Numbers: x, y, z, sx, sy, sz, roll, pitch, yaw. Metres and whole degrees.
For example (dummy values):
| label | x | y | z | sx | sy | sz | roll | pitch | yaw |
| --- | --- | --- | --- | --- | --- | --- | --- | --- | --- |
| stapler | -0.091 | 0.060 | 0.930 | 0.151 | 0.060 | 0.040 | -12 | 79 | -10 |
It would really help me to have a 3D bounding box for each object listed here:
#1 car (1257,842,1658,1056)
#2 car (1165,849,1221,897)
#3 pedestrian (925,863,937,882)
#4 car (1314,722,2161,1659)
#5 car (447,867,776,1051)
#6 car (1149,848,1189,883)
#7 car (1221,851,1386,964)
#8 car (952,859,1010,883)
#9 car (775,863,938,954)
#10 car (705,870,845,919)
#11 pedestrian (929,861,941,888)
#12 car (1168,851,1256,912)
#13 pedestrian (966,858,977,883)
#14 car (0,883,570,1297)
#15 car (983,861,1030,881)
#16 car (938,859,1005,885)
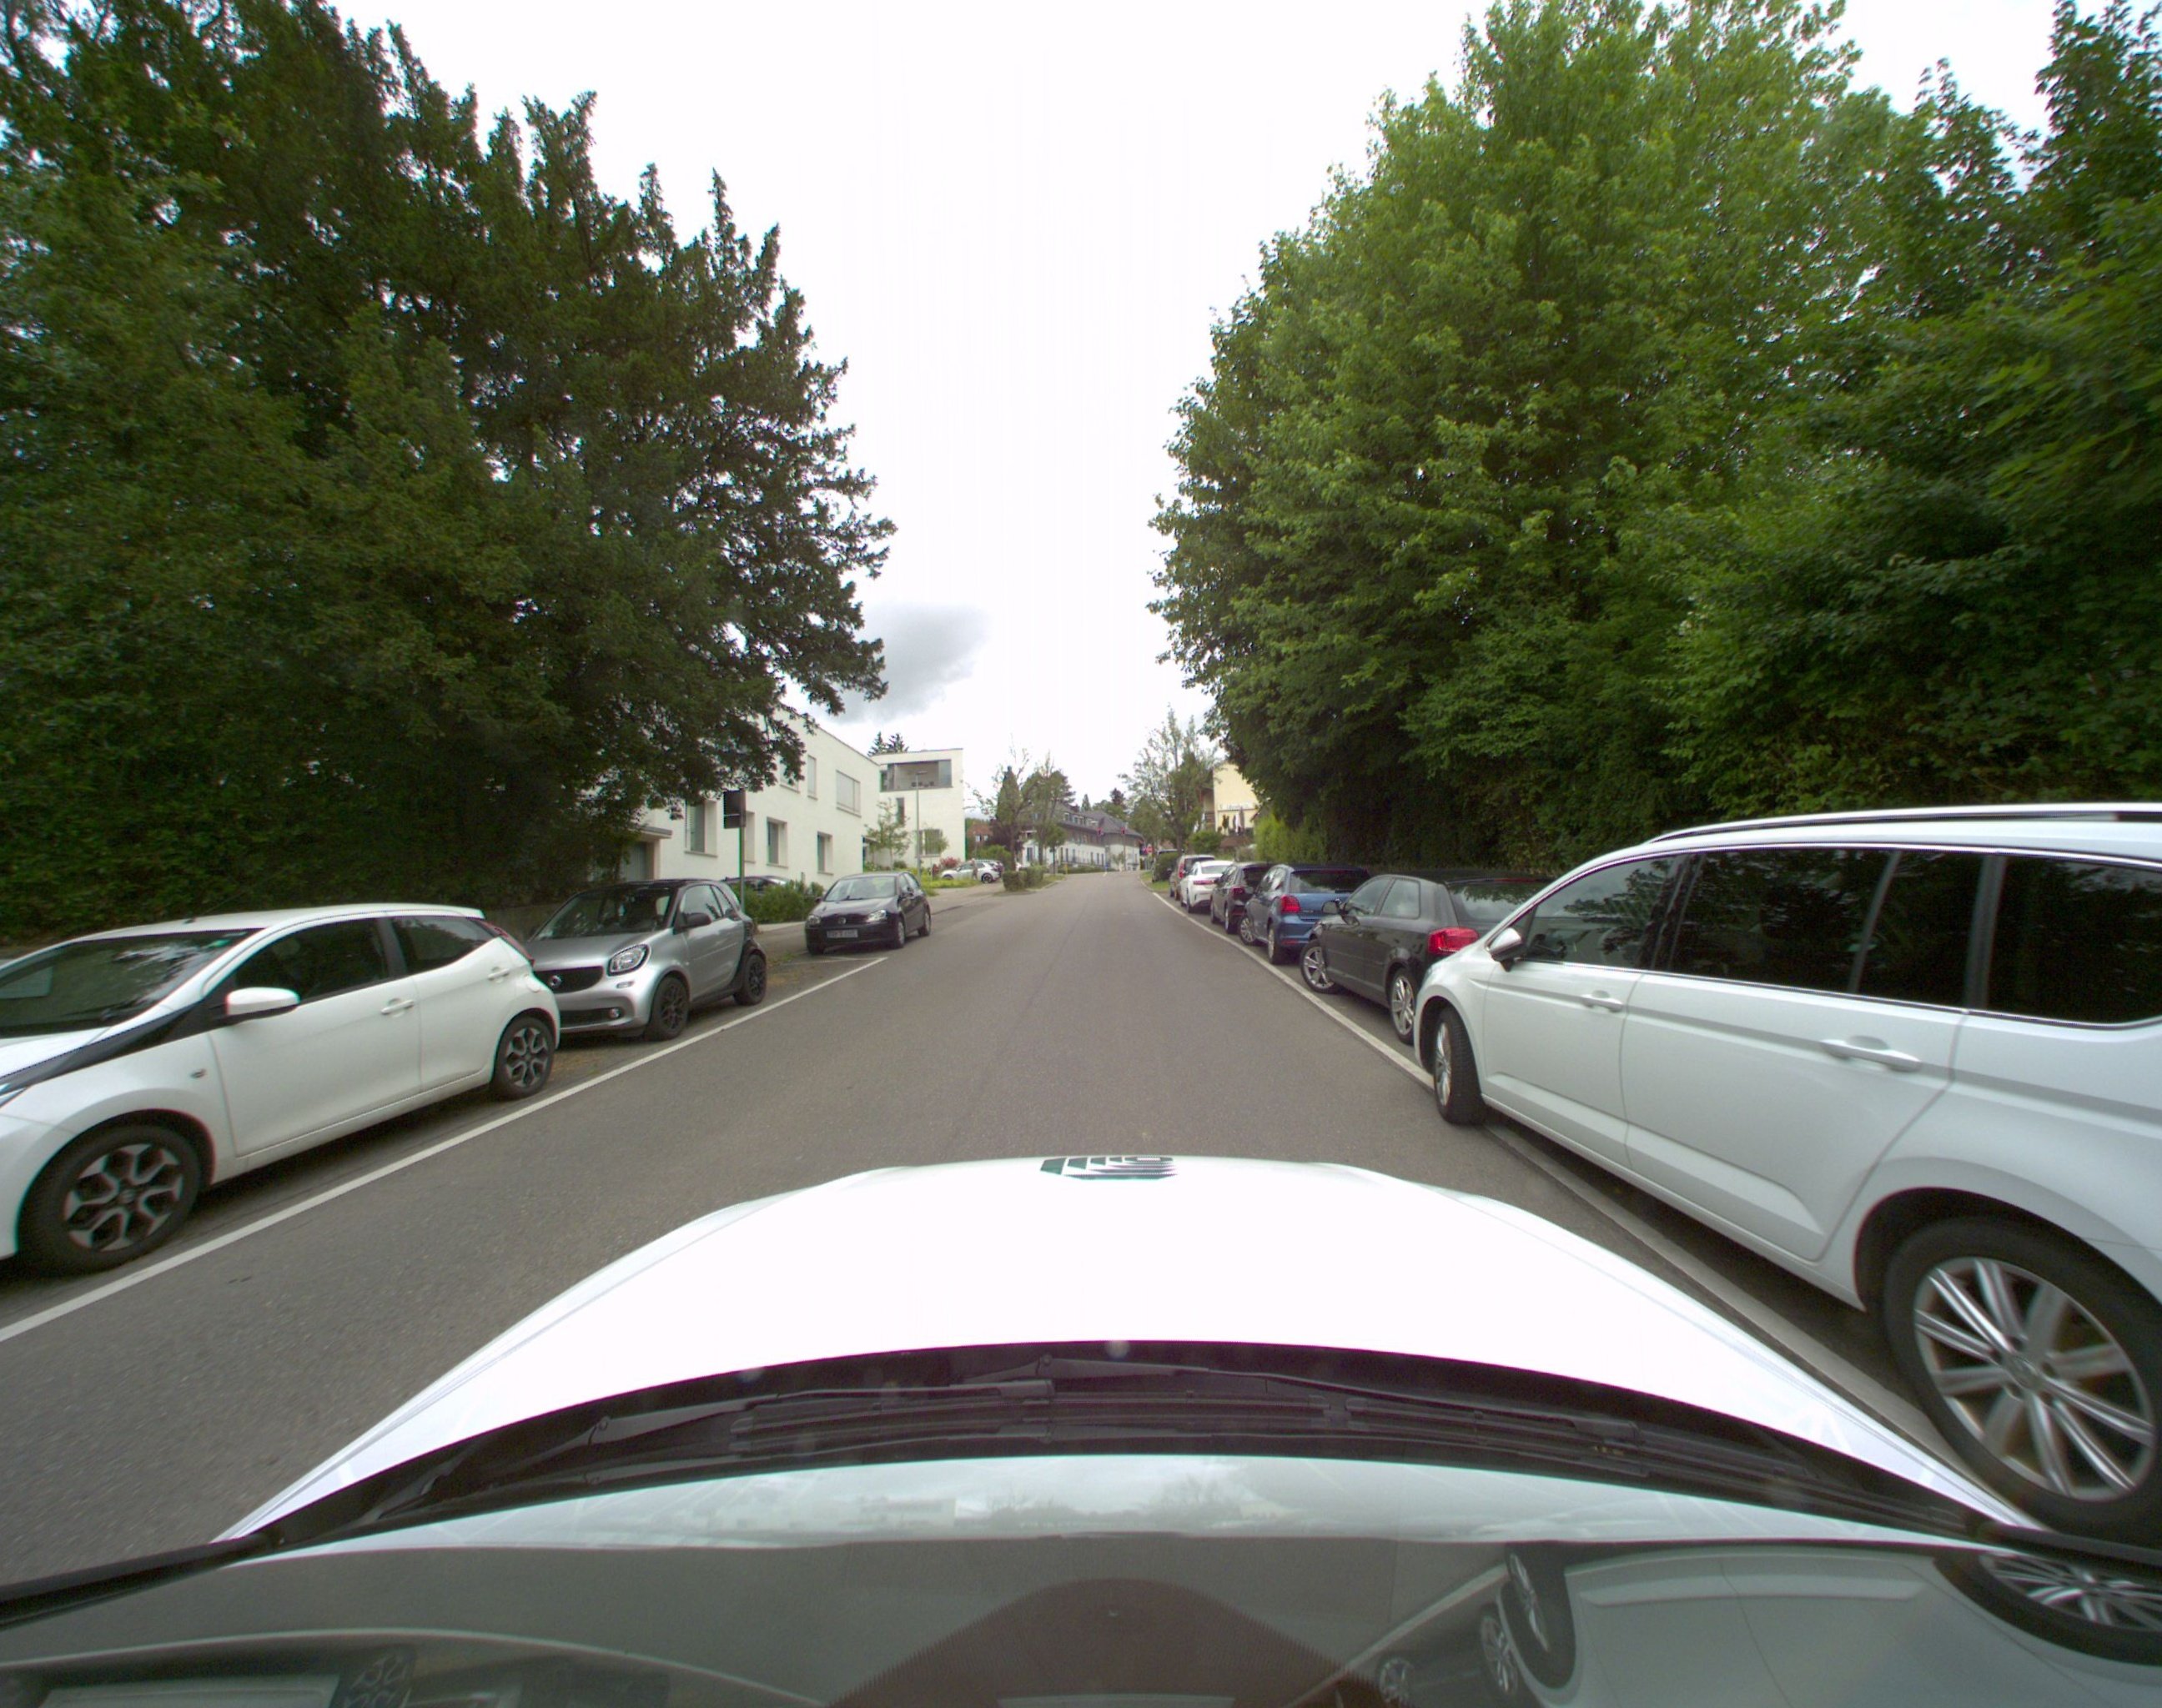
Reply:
| label | x | y | z | sx | sy | sz | roll | pitch | yaw |
| --- | --- | --- | --- | --- | --- | --- | --- | --- | --- |
| car | 3.206 | 0.711 | 8.087 | 1.805 | 1.452 | 4.375 | -3 | -1 | -2 |
| car | 4.060 | 0.683 | 30.151 | 1.710 | 1.632 | 3.931 | -1 | -1 | 3 |
| pedestrian | -10.318 | 1.265 | 55.902 | 0.604 | 1.283 | 0.900 | -1 | -1 | 2 |
| car | 2.757 | 0.548 | 3.427 | 1.995 | 1.608 | 4.754 | -3 | 0 | -2 |
| car | -4.668 | 0.942 | 8.608 | 1.618 | 1.519 | 2.976 | -3 | -1 | 2 |
| car | 4.941 | 0.636 | 46.442 | 1.928 | 1.838 | 5.222 | -2 | -1 | 3 |
| car | 3.355 | 0.736 | 13.062 | 1.690 | 1.508 | 4.163 | 0 | 0 | 3 |
| car | -7.434 | 1.283 | 60.800 | 3.970 | 1.653 | 2.010 | -2 | -1 | 3 |
| car | -4.331 | 0.983 | 16.542 | 1.844 | 1.469 | 4.684 | -3 | 0 | 1 |
| car | -9.694 | 1.255 | 26.014 | 3.786 | 1.354 | 1.739 | -2 | -1 | -3 |
| pedestrian | -9.449 | 1.318 | 52.734 | 0.586 | 1.682 | 0.520 | -2 | -1 | 4 |
| car | 3.707 | 0.735 | 23.844 | 1.985 | 1.491 | 5.009 | -3 | 0 | 3 |
| pedestrian | -7.511 | 1.126 | 55.936 | 0.591 | 1.640 | 0.566 | -3 | -1 | 3 |
| car | -4.864 | 1.004 | 4.451 | 1.738 | 1.448 | 3.514 | -5 | -1 | 2 |
| car | -7.023 | 1.577 | 77.022 | 4.247 | 1.623 | 2.013 | -3 | -2 | -1 |
| car | -7.802 | 1.267 | 58.187 | 4.371 | 1.566 | 2.067 | -3 | -1 | 1 |
